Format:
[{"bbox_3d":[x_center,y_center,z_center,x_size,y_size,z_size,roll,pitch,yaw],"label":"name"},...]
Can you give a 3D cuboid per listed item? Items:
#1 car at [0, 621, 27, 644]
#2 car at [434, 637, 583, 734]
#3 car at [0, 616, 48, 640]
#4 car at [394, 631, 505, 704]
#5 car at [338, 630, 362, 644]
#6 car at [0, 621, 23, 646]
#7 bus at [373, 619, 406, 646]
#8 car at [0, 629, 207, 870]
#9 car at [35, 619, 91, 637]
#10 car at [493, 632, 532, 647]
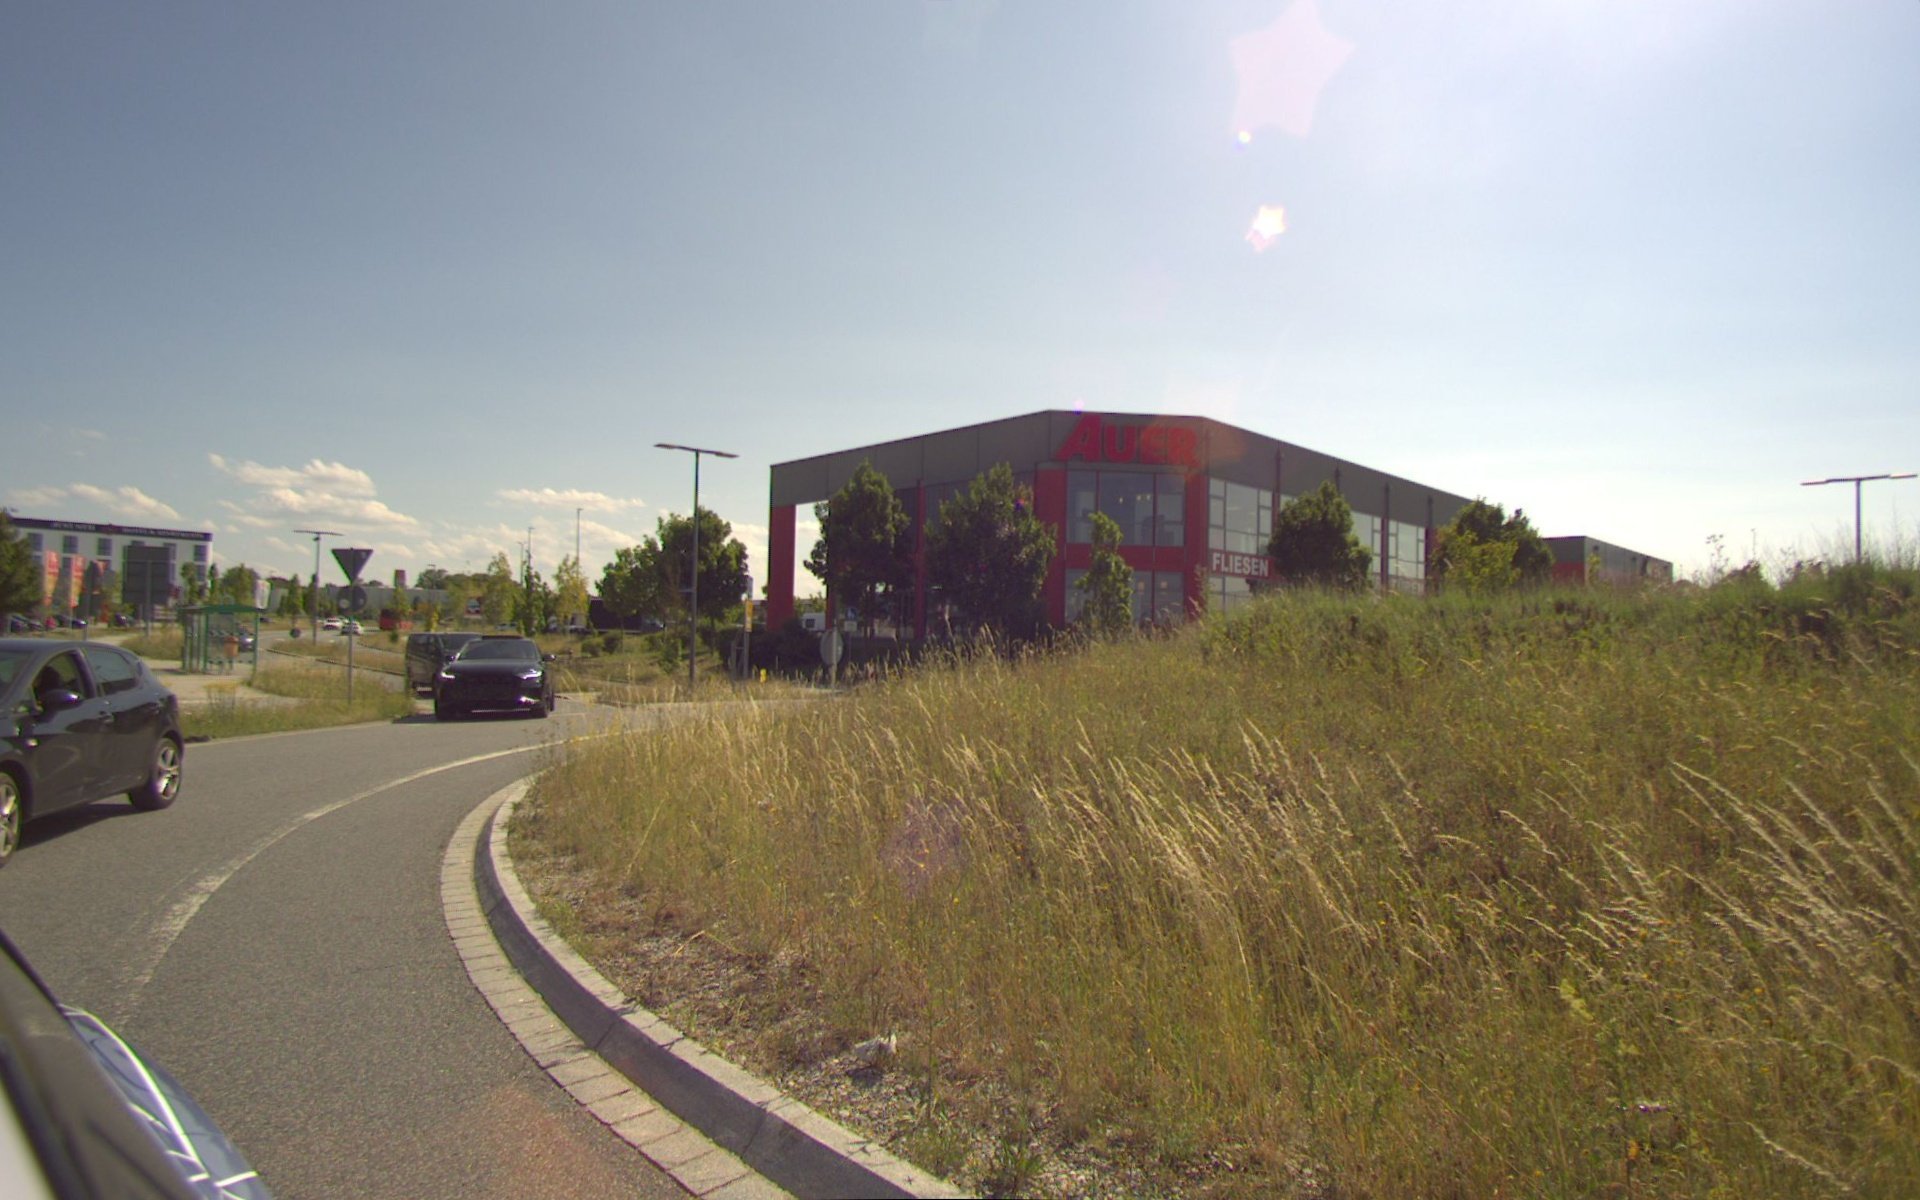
[{"bbox_3d":[-81.357,2.690,84.891,4.114,1.871,1.809,2,-3,-26],"label":"car"},{"bbox_3d":[-9.294,1.687,21.178,1.833,1.701,4.007,0,0,-8],"label":"car"},{"bbox_3d":[-83.696,2.444,89.478,4.116,2.029,1.939,3,-3,-32],"label":"car"},{"bbox_3d":[-16.483,2.077,32.547,2.049,2.064,4.689,0,-1,-42],"label":"car"},{"bbox_3d":[-63.434,3.854,105.293,1.766,1.427,4.396,2,-3,-27],"label":"car"},{"bbox_3d":[-79.913,2.724,82.955,4.115,2.029,1.939,3,-3,-30],"label":"car"},{"bbox_3d":[-73.568,4.218,130.681,2.572,3.266,11.919,2,-3,-24],"label":"bus"},{"bbox_3d":[-7.058,0.934,6.892,1.831,1.479,4.012,1,-2,-17],"label":"car"},{"bbox_3d":[-87.428,2.759,98.699,3.759,1.632,1.762,3,-3,-31],"label":"car"},{"bbox_3d":[-52.485,4.654,118.700,3.881,1.689,1.623,2,-3,-12],"label":"car"}]
